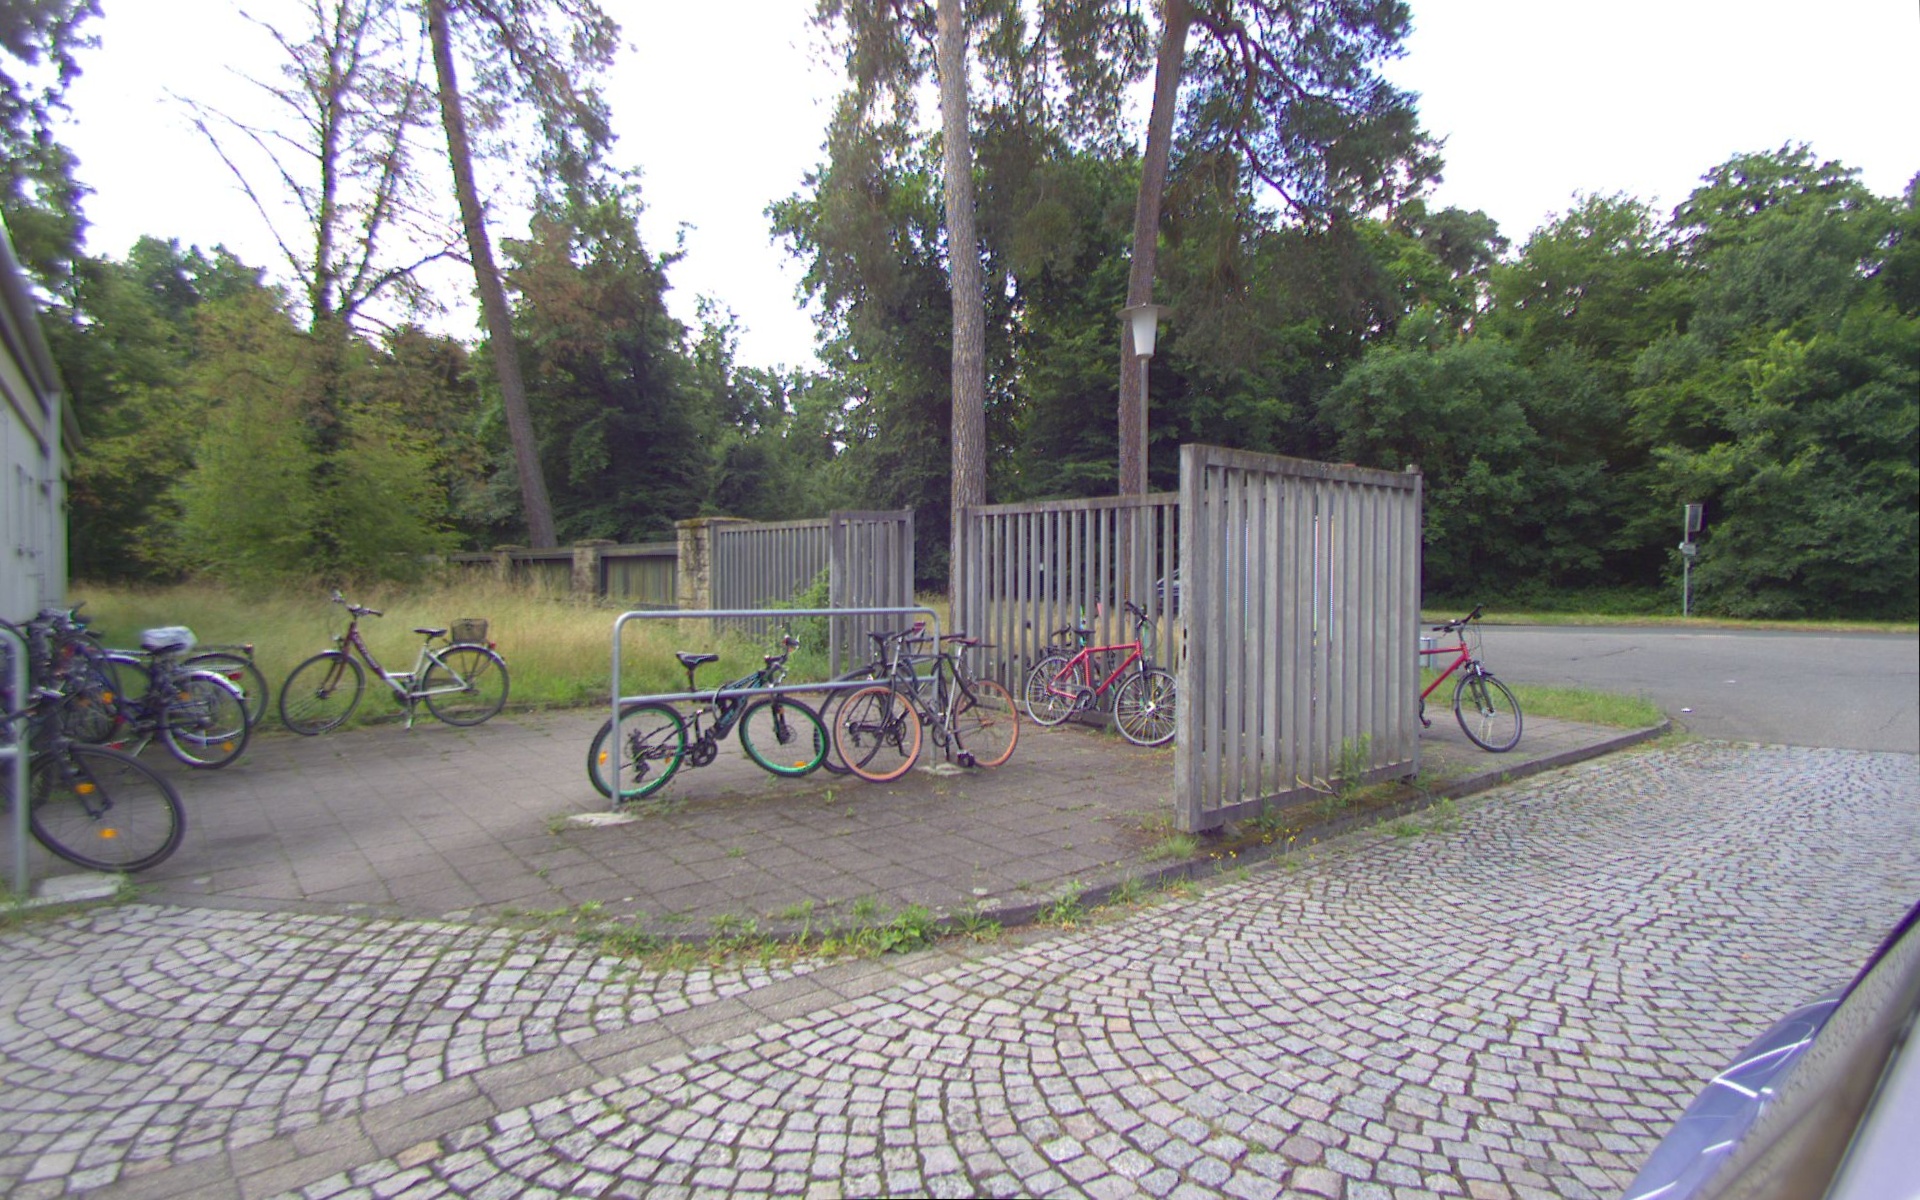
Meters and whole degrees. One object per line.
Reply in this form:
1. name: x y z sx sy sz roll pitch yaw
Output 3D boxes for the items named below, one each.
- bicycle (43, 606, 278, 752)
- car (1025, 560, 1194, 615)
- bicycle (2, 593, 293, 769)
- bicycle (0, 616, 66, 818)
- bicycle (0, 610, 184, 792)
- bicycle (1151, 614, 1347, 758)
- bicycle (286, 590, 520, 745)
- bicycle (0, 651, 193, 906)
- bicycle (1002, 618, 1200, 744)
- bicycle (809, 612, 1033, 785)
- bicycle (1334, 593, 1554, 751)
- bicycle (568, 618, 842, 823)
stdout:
1. bicycle: -5.996 0.569 7.647 1.328 1.023 0.406 0 1 -18
2. car: 5.366 -0.488 36.461 5.854 1.859 1.993 1 1 12
3. bicycle: -5.550 0.527 6.938 1.710 1.146 0.473 0 1 6
4. bicycle: -5.711 0.624 5.783 1.390 1.059 0.336 0 1 23
5. bicycle: -5.830 0.600 6.382 1.722 1.059 0.453 0 1 11
6. bicycle: 2.468 0.696 8.833 0.380 1.046 1.730 0 2 -39
7. bicycle: -4.610 0.507 8.416 1.648 1.153 0.649 -1 2 -35
8. bicycle: -4.196 0.755 4.158 1.626 0.964 0.535 -2 2 -41
9. bicycle: 1.244 0.691 9.291 1.863 0.951 0.496 3 3 44
10. bicycle: -0.242 0.653 7.348 1.702 1.070 0.473 -1 2 -41
11. bicycle: 4.403 0.600 9.273 1.649 1.245 0.738 3 3 42
12. bicycle: -1.576 0.682 6.380 1.538 1.075 0.691 -1 2 -41
